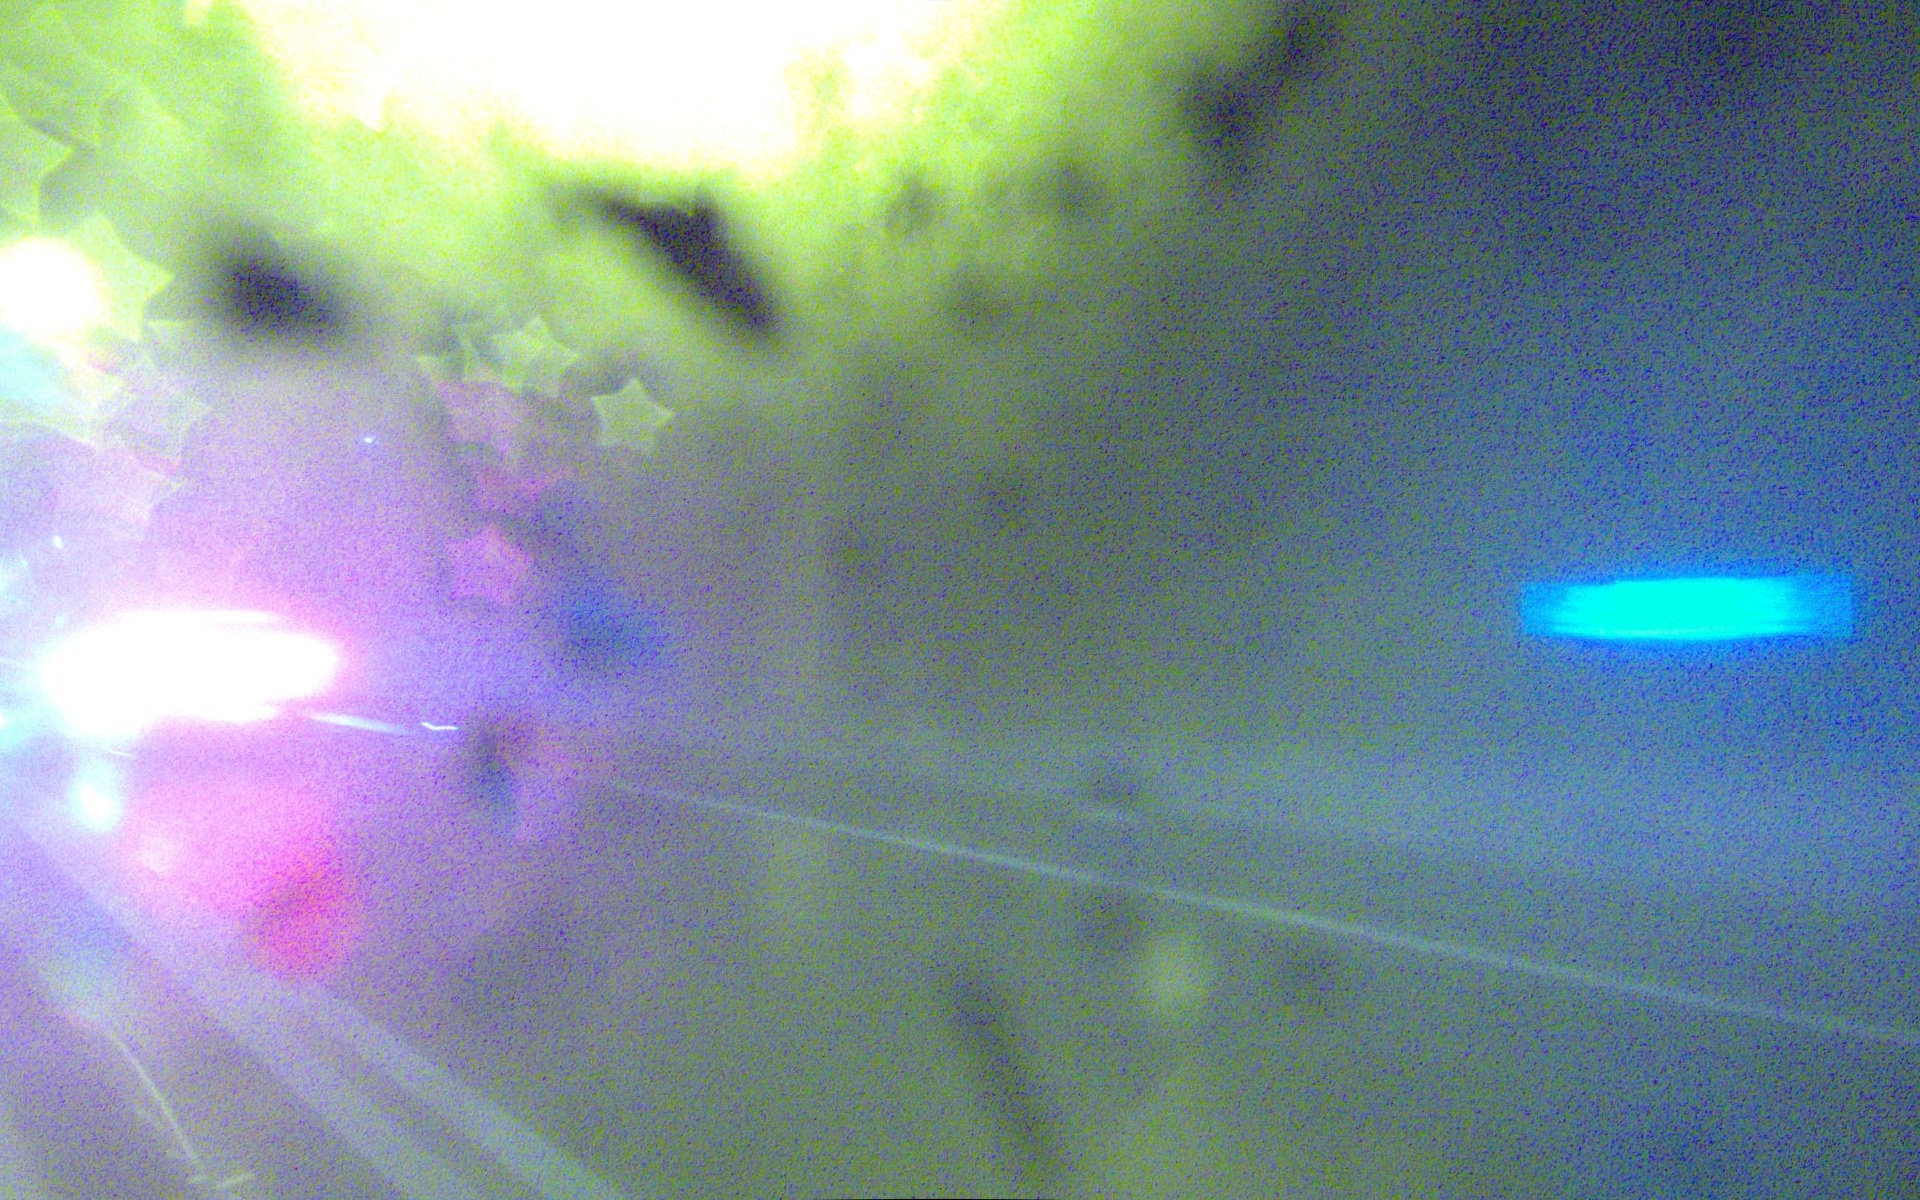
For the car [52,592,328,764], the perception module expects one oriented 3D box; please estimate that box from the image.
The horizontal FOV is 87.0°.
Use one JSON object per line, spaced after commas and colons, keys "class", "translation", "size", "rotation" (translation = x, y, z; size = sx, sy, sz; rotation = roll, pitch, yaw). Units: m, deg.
{"class": "car", "translation": [-9.392, 0.804, 12.195], "size": [4.559, 1.689, 1.763], "rotation": [-1, 0, 41]}
